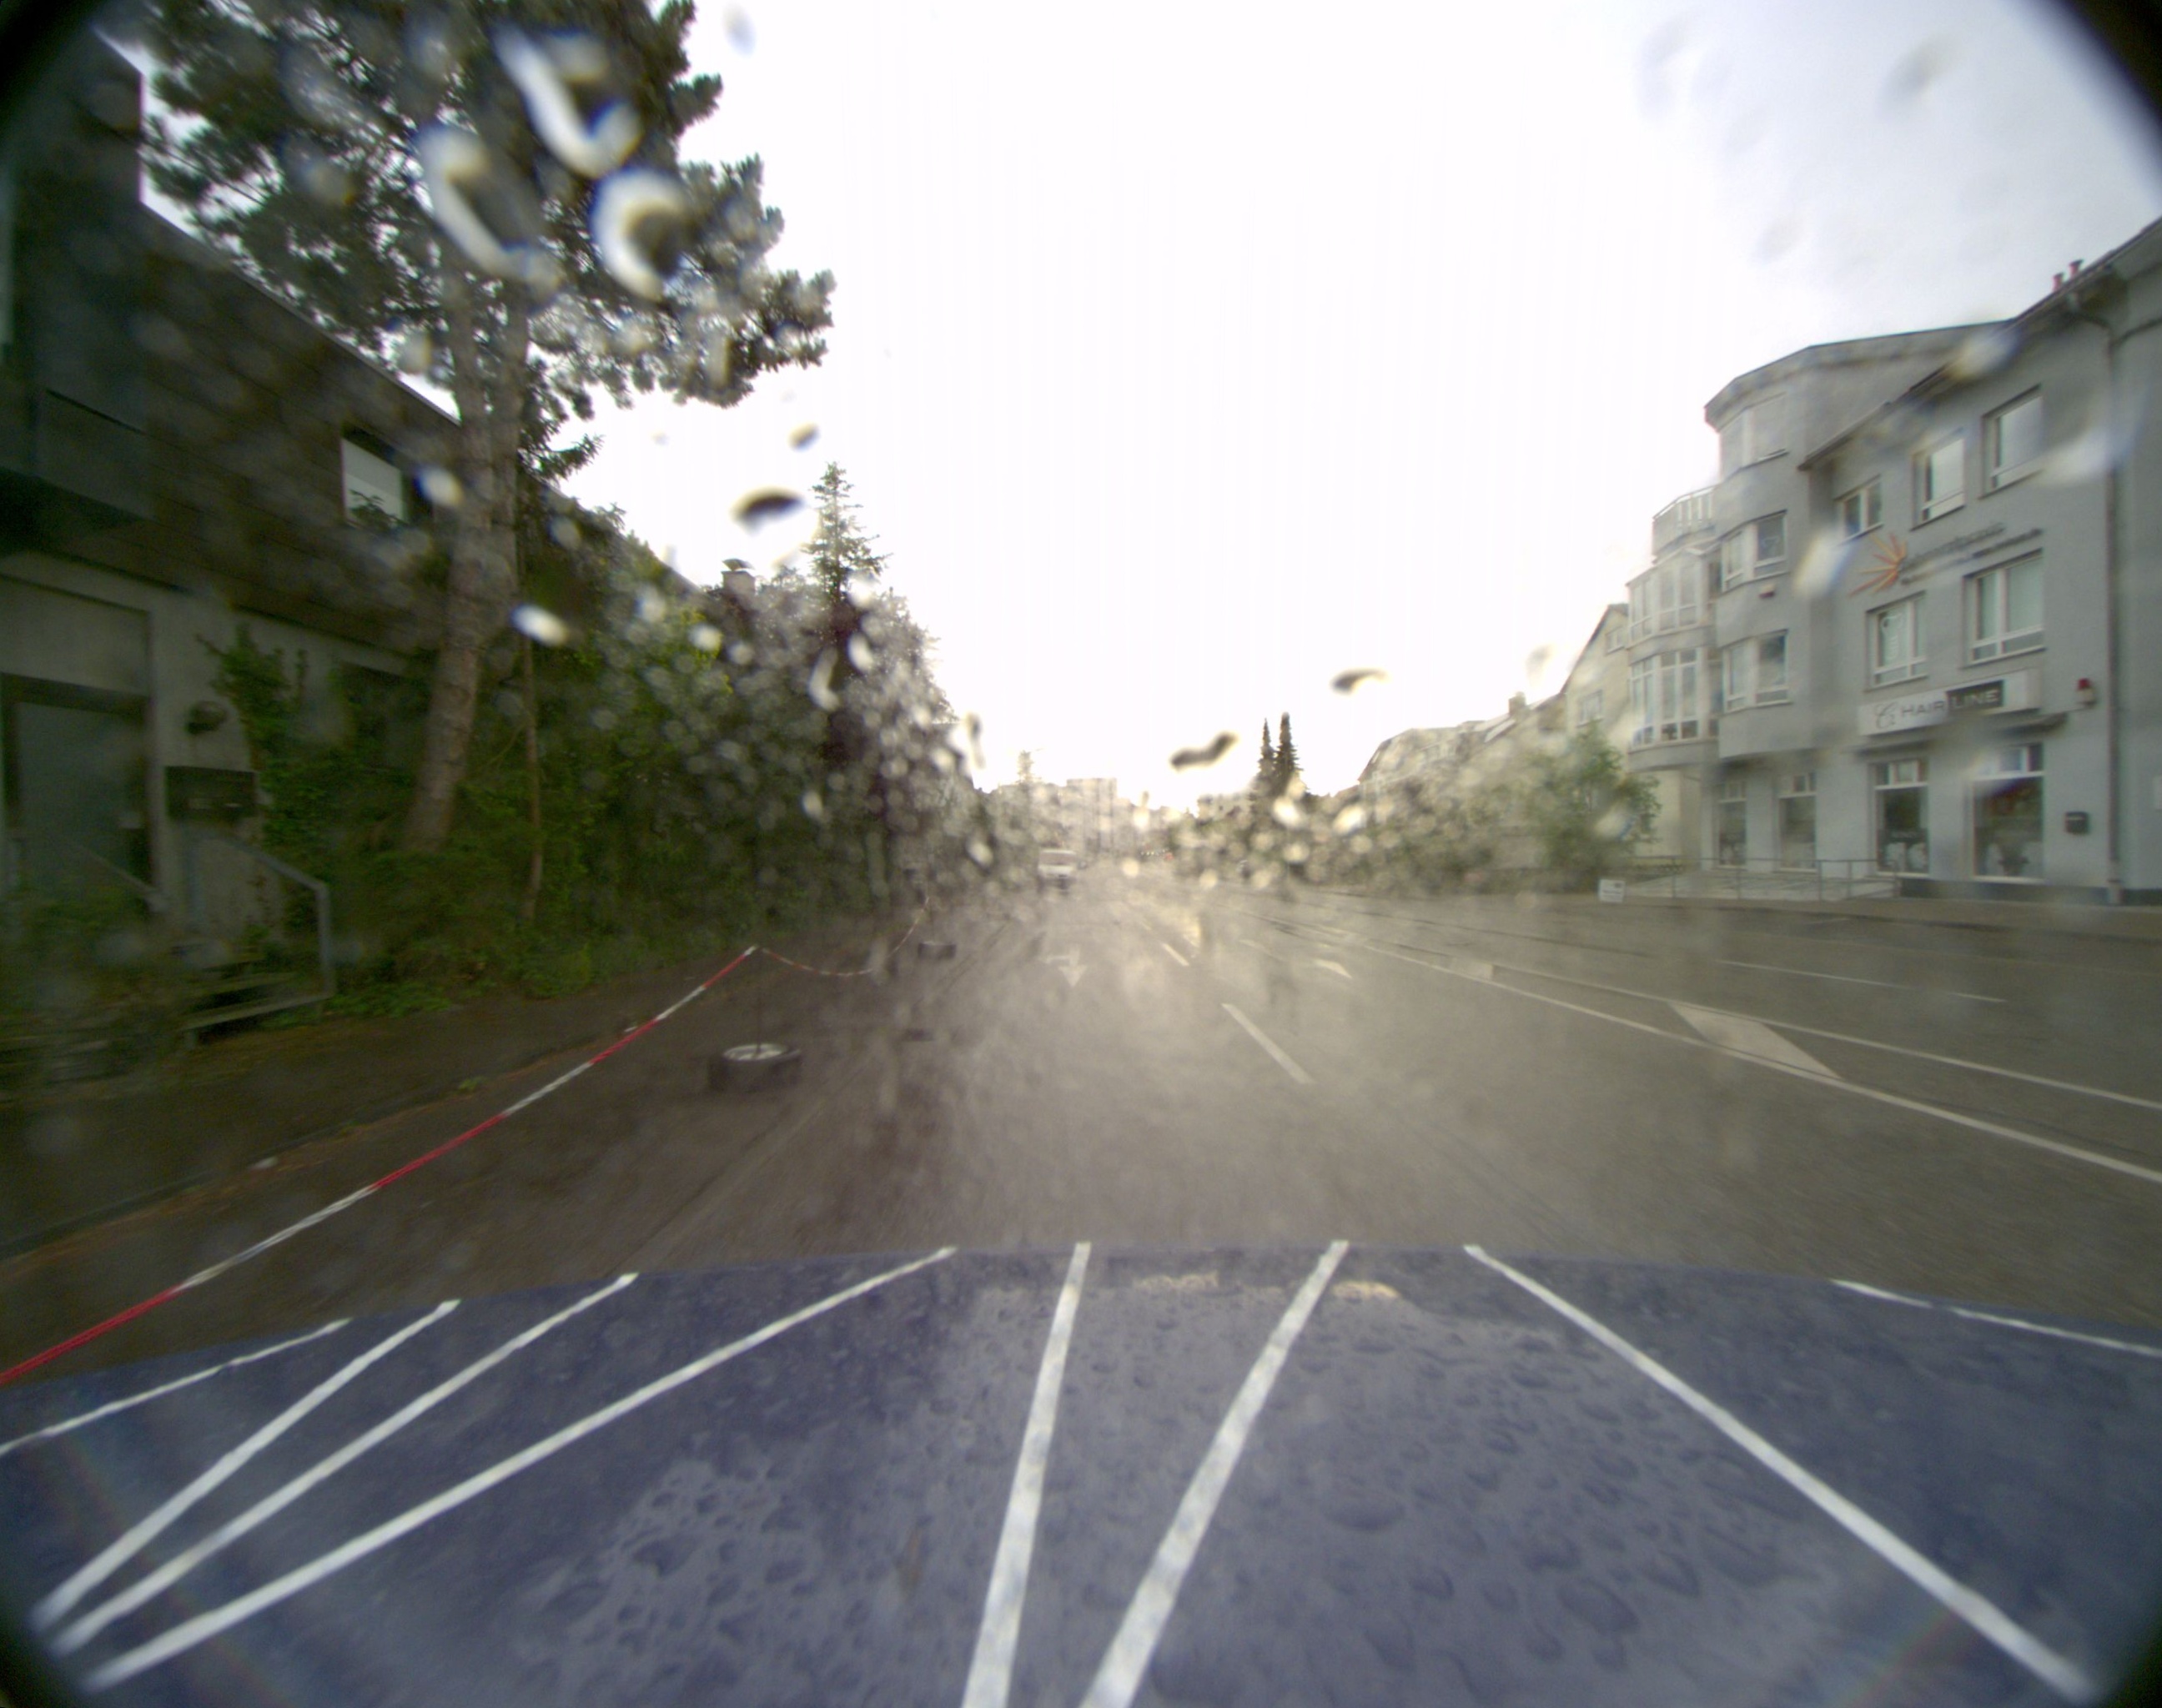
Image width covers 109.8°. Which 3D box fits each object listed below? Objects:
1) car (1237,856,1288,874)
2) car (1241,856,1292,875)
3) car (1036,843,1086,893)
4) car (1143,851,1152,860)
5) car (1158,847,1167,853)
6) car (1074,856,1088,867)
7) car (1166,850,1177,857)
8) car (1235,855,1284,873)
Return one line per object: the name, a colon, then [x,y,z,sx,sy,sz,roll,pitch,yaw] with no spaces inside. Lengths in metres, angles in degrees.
car: [16.298,0.983,68.396,4.155,1.434,1.891,-3,0,7]
car: [16.092,0.960,65.911,4.034,1.433,1.813,-3,0,5]
car: [-0.981,0.684,39.727,2.397,2.417,6.433,0,0,0]
car: [15.049,0.322,172.489,1.851,1.870,4.122,-1,0,4]
car: [21.745,-1.088,202.814,1.850,1.753,4.124,-1,0,10]
car: [-0.033,1.221,121.806,1.912,1.622,3.703,-1,0,4]
car: [20.120,-0.116,168.993,1.997,1.606,4.003,-1,0,11]
car: [16.677,0.921,71.112,4.114,1.536,2.001,-3,0,5]
